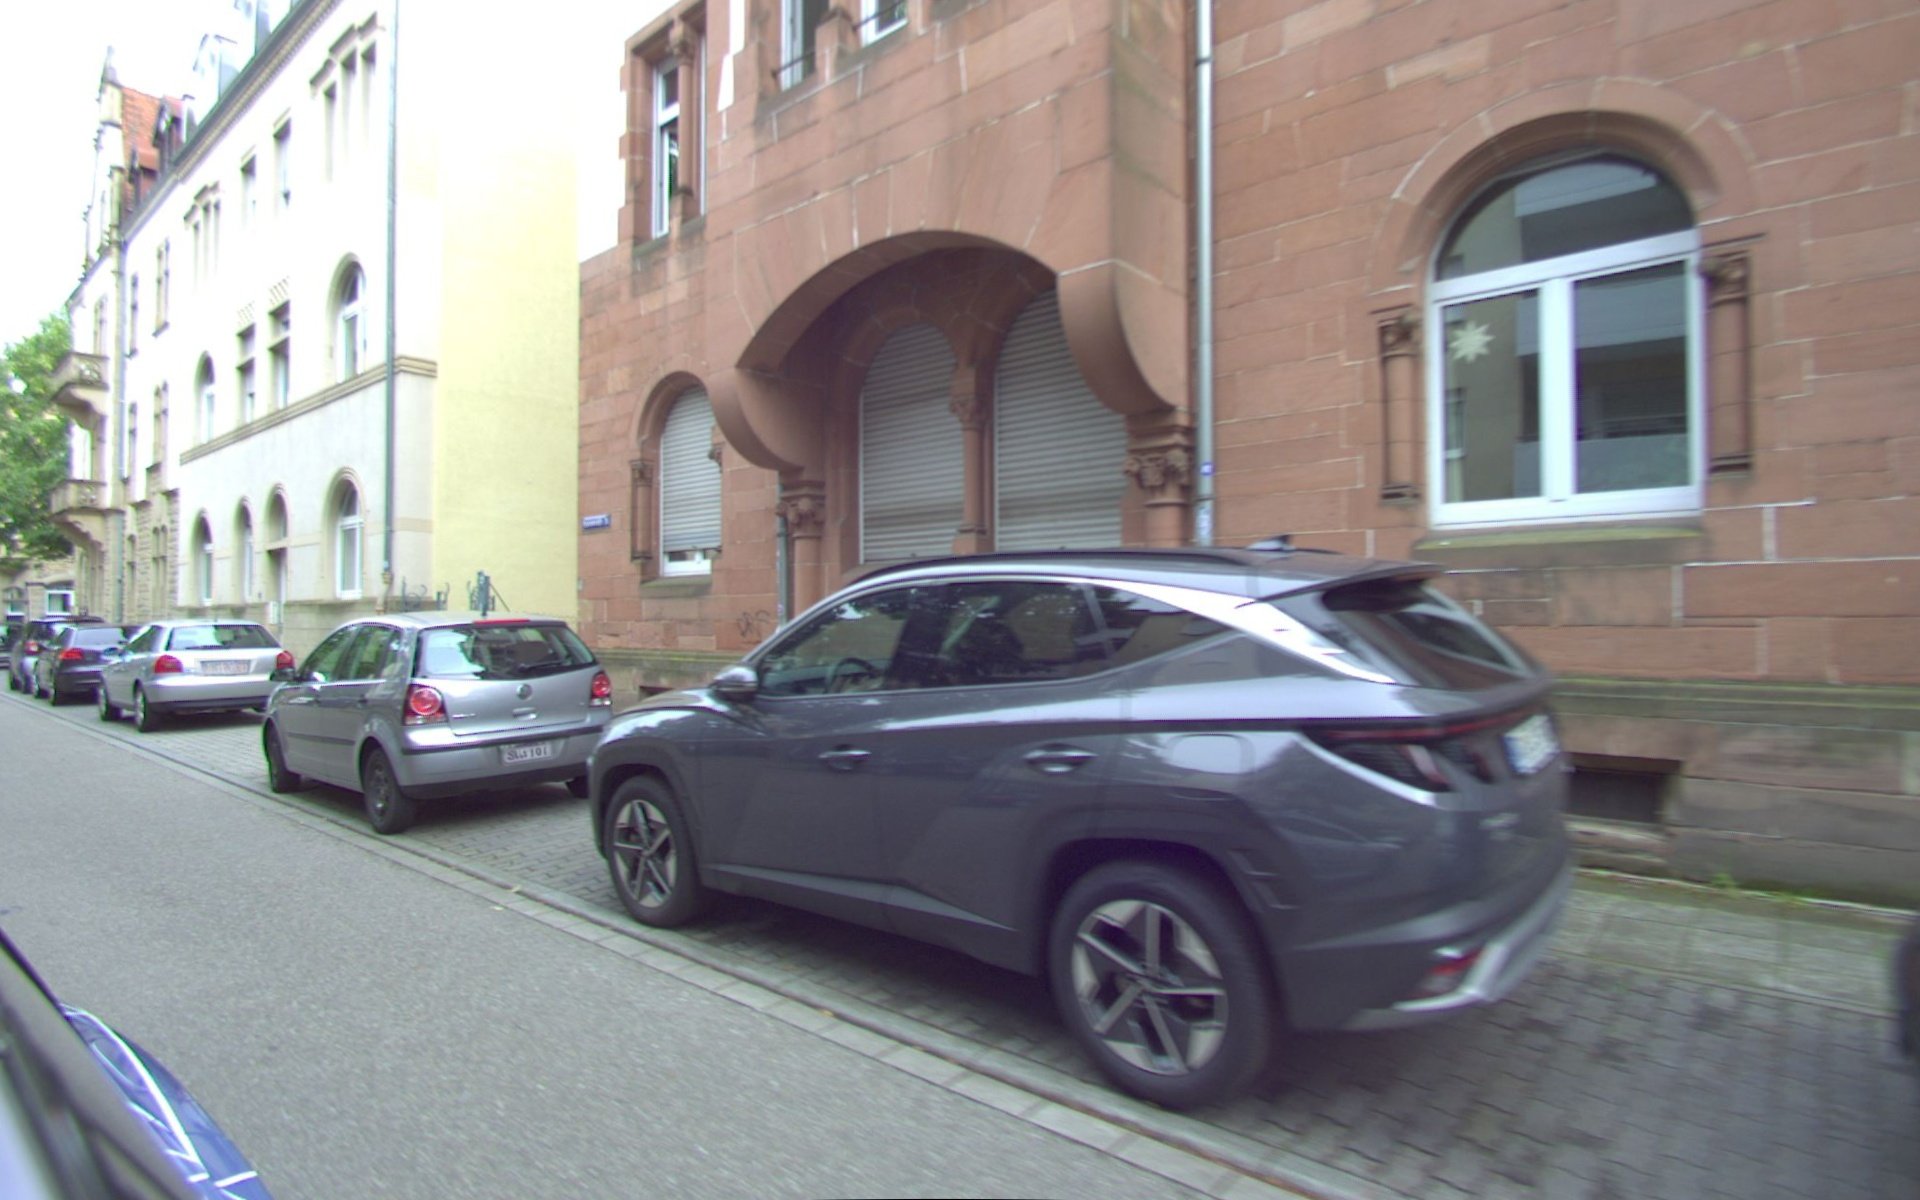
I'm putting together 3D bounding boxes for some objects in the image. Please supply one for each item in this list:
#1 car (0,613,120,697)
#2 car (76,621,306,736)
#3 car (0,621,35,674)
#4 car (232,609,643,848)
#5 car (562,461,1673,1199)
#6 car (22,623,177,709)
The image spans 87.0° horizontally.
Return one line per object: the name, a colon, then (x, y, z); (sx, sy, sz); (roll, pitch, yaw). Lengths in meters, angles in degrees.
car: (-19.244, 1.136, 21.487); (2.954, 1.582, 1.630); (-3, 0, 40)
car: (-10.944, 1.018, 14.299); (4.133, 1.397, 1.709); (-2, -2, 40)
car: (-29.821, 1.459, 31.083); (3.999, 1.506, 1.691); (-2, 1, 43)
car: (-4.318, 0.829, 8.083); (3.928, 1.431, 1.645); (-2, -1, 42)
car: (0.243, 0.573, 4.280); (4.359, 1.659, 1.768); (-2, -1, 41)
car: (-15.907, 1.154, 18.642); (3.928, 1.397, 1.707); (-2, -2, 42)
